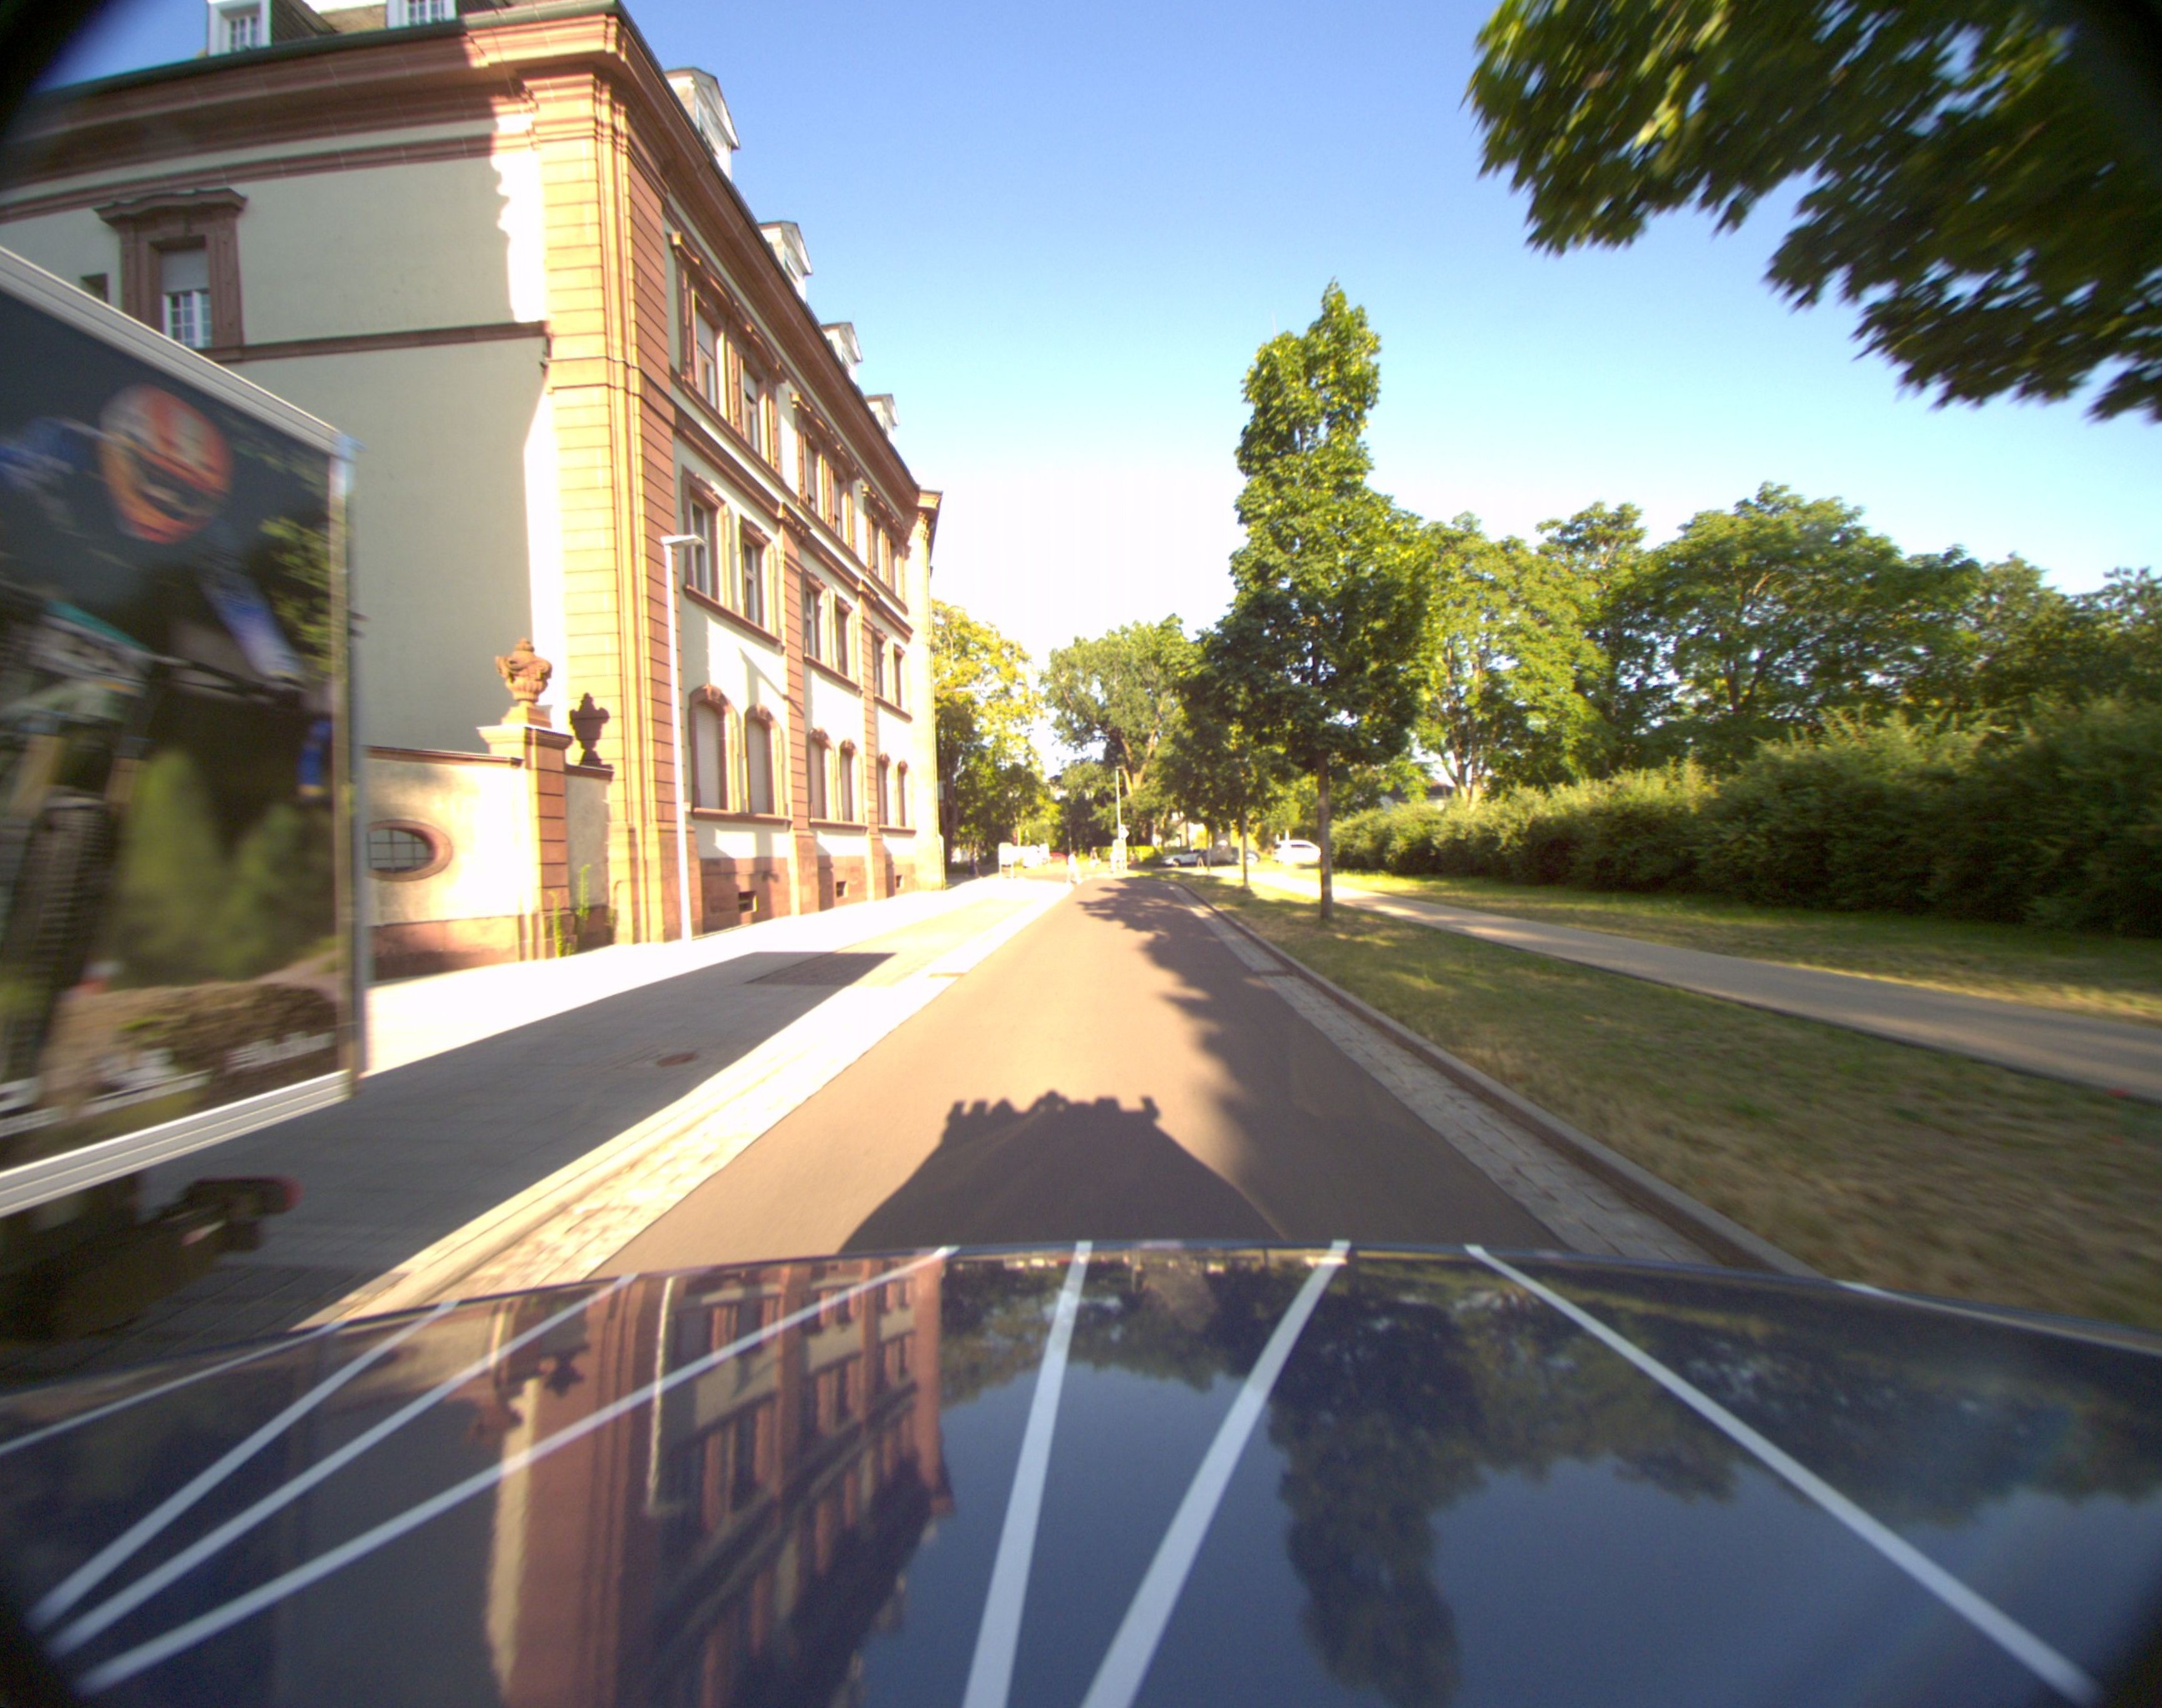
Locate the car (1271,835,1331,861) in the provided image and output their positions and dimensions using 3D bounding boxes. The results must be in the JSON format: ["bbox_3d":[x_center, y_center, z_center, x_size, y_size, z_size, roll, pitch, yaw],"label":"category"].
[{"bbox_3d":[17.629,-0.473,60.993,4.240,1.905,1.760,-2,1,-14],"label":"car"}]

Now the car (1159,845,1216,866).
[{"bbox_3d":[8.946,0.126,63.901,4.347,1.526,1.781,-2,-1,-12],"label":"car"}]

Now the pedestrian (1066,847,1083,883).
[{"bbox_3d":[-0.334,0.549,37.176,0.534,1.708,1.002,-3,0,-13],"label":"pedestrian"}]

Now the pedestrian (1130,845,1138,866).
[{"bbox_3d":[4.624,0.149,66.115,0.435,1.765,0.665,-3,1,-10],"label":"pedestrian"}]

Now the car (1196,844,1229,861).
[{"bbox_3d":[12.102,-0.166,70.138,1.639,1.483,3.350,-3,2,-16],"label":"car"}]

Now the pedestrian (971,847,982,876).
[{"bbox_3d":[-6.837,0.506,49.717,0.613,1.829,0.726,-2,-1,-12],"label":"pedestrian"}]

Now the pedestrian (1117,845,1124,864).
[{"bbox_3d":[3.473,0.046,67.192,0.435,1.572,0.665,-3,1,-10],"label":"pedestrian"}]

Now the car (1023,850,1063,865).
[{"bbox_3d":[-4.185,0.386,83.790,4.061,1.412,1.716,-3,1,-16],"label":"car"}]

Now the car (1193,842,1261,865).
[{"bbox_3d":[11.387,-0.056,59.229,4.840,1.549,1.865,-2,0,-14],"label":"car"}]

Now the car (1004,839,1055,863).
[{"bbox_3d":[-6.496,-0.359,95.559,5.913,2.685,2.217,-3,1,-16],"label":"car"}]

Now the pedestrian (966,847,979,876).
[{"bbox_3d":[-6.988,0.517,49.032,0.717,1.829,0.789,-2,-1,-12],"label":"pedestrian"}]

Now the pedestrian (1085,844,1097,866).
[{"bbox_3d":[0.938,0.089,69.802,0.615,1.908,0.720,-6,4,-37],"label":"pedestrian"}]

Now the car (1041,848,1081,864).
[{"bbox_3d":[-2.064,0.197,78.457,3.682,1.412,1.716,-3,1,-16],"label":"car"}]
